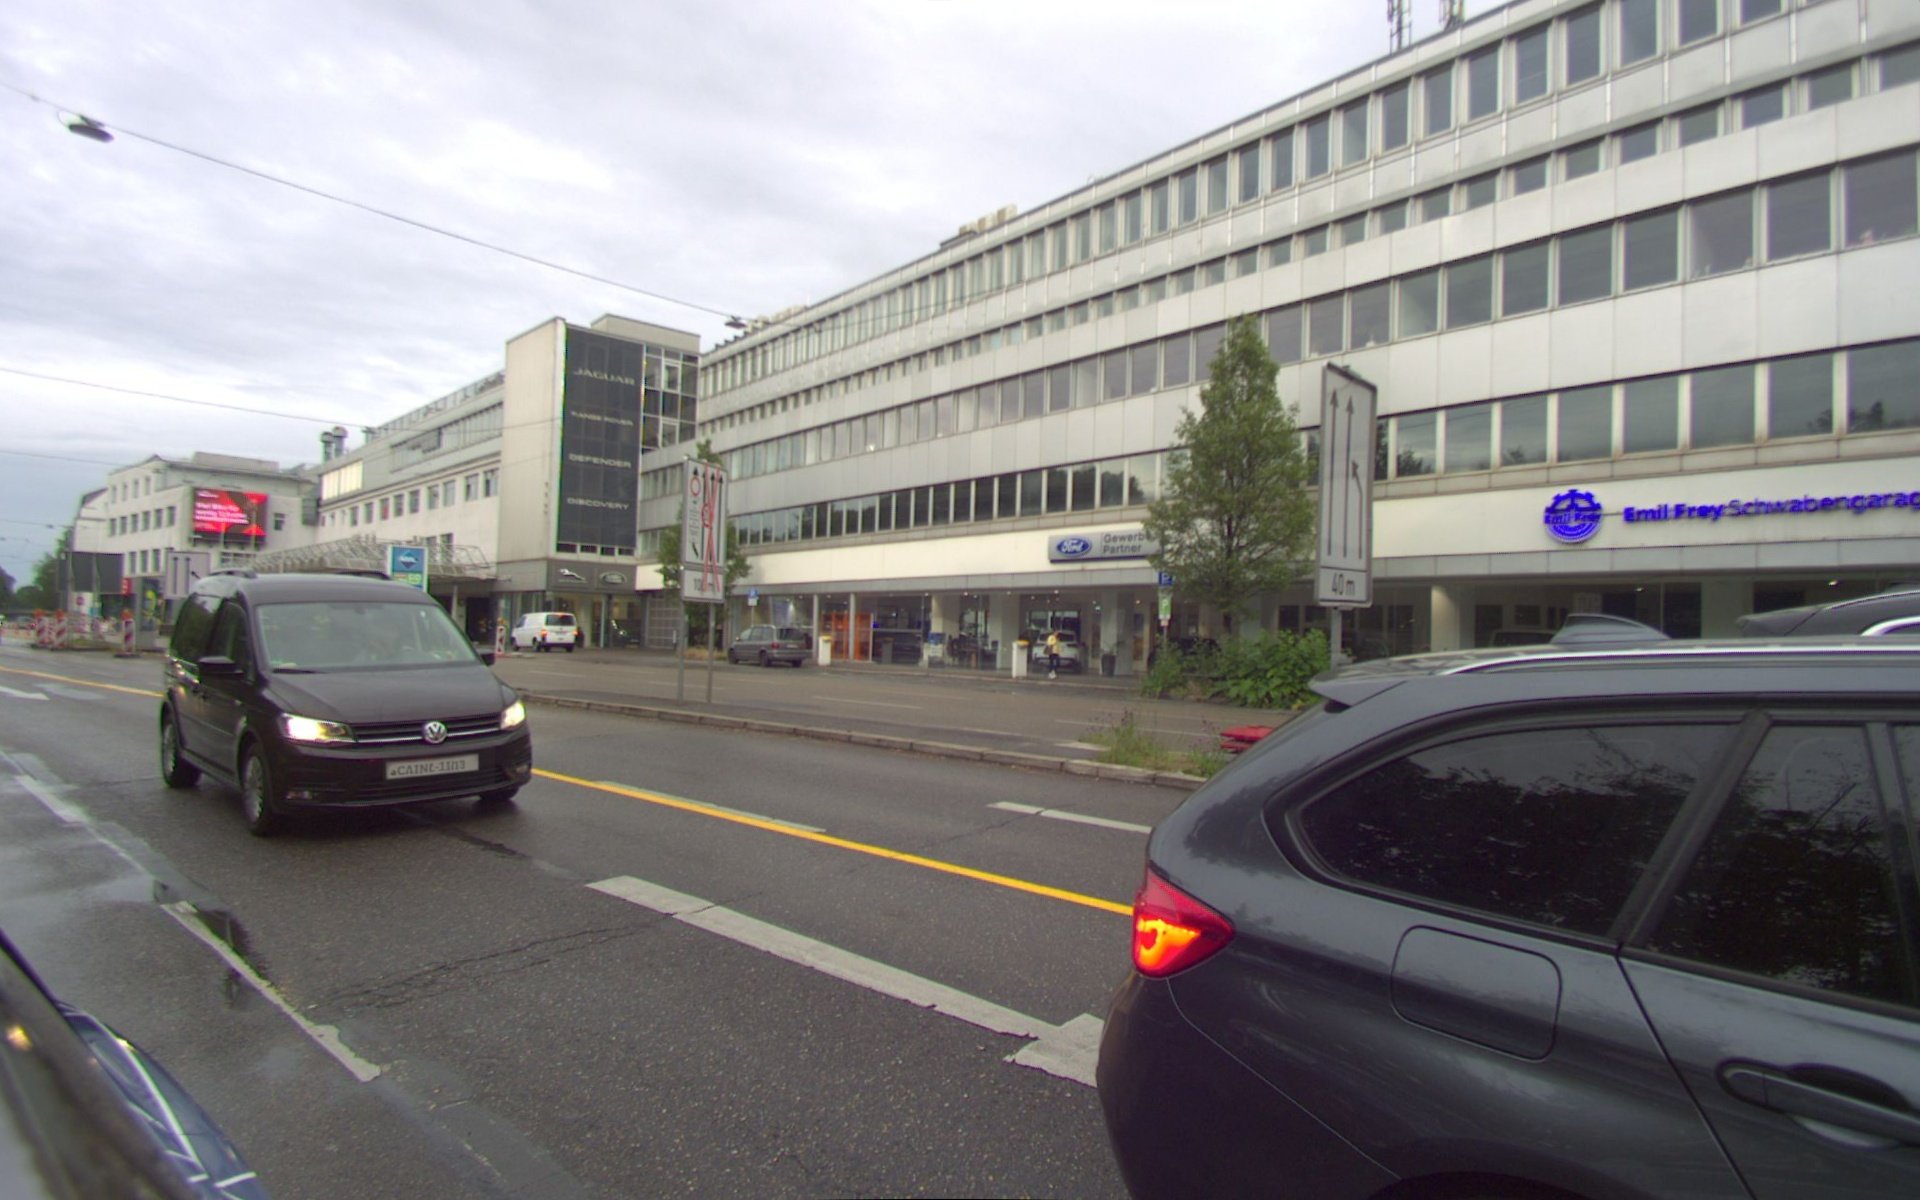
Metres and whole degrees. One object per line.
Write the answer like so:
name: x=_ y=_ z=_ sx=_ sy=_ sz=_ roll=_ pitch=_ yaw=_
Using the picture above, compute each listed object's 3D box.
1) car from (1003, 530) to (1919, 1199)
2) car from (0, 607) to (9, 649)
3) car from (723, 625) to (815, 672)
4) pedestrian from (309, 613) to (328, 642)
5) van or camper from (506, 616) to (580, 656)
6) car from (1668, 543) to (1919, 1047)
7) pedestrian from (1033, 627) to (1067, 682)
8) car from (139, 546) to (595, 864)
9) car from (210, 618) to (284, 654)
car: x=2.325 y=0.679 z=1.097 sx=4.476 sy=1.469 sz=1.757 roll=-1 pitch=-3 yaw=42
car: x=-39.670 y=1.130 z=40.690 sx=4.333 sy=1.650 sz=1.747 roll=-1 pitch=0 yaw=43
car: x=-8.186 y=2.029 z=43.194 sx=1.895 sy=1.829 sz=4.169 roll=-1 pitch=0 yaw=-44
pedestrian: x=-42.231 y=1.800 z=66.650 sx=0.942 sy=1.828 sz=0.882 roll=-1 pitch=0 yaw=45
van or camper: x=-21.167 y=1.820 z=51.247 sx=1.912 sy=1.938 sz=4.689 roll=2 pitch=-3 yaw=-43
car: x=4.896 y=0.625 z=2.937 sx=4.445 sy=1.668 sz=1.789 roll=-1 pitch=0 yaw=44
pedestrian: x=3.009 y=1.802 z=33.833 sx=0.750 sy=1.788 sz=0.865 roll=-1 pitch=0 yaw=-42
car: x=-4.886 y=0.615 z=8.031 sx=4.429 sy=1.828 sz=1.880 roll=-1 pitch=0 yaw=42
car: x=-33.618 y=1.697 z=47.690 sx=3.760 sy=1.544 sz=1.783 roll=-2 pitch=-6 yaw=39
